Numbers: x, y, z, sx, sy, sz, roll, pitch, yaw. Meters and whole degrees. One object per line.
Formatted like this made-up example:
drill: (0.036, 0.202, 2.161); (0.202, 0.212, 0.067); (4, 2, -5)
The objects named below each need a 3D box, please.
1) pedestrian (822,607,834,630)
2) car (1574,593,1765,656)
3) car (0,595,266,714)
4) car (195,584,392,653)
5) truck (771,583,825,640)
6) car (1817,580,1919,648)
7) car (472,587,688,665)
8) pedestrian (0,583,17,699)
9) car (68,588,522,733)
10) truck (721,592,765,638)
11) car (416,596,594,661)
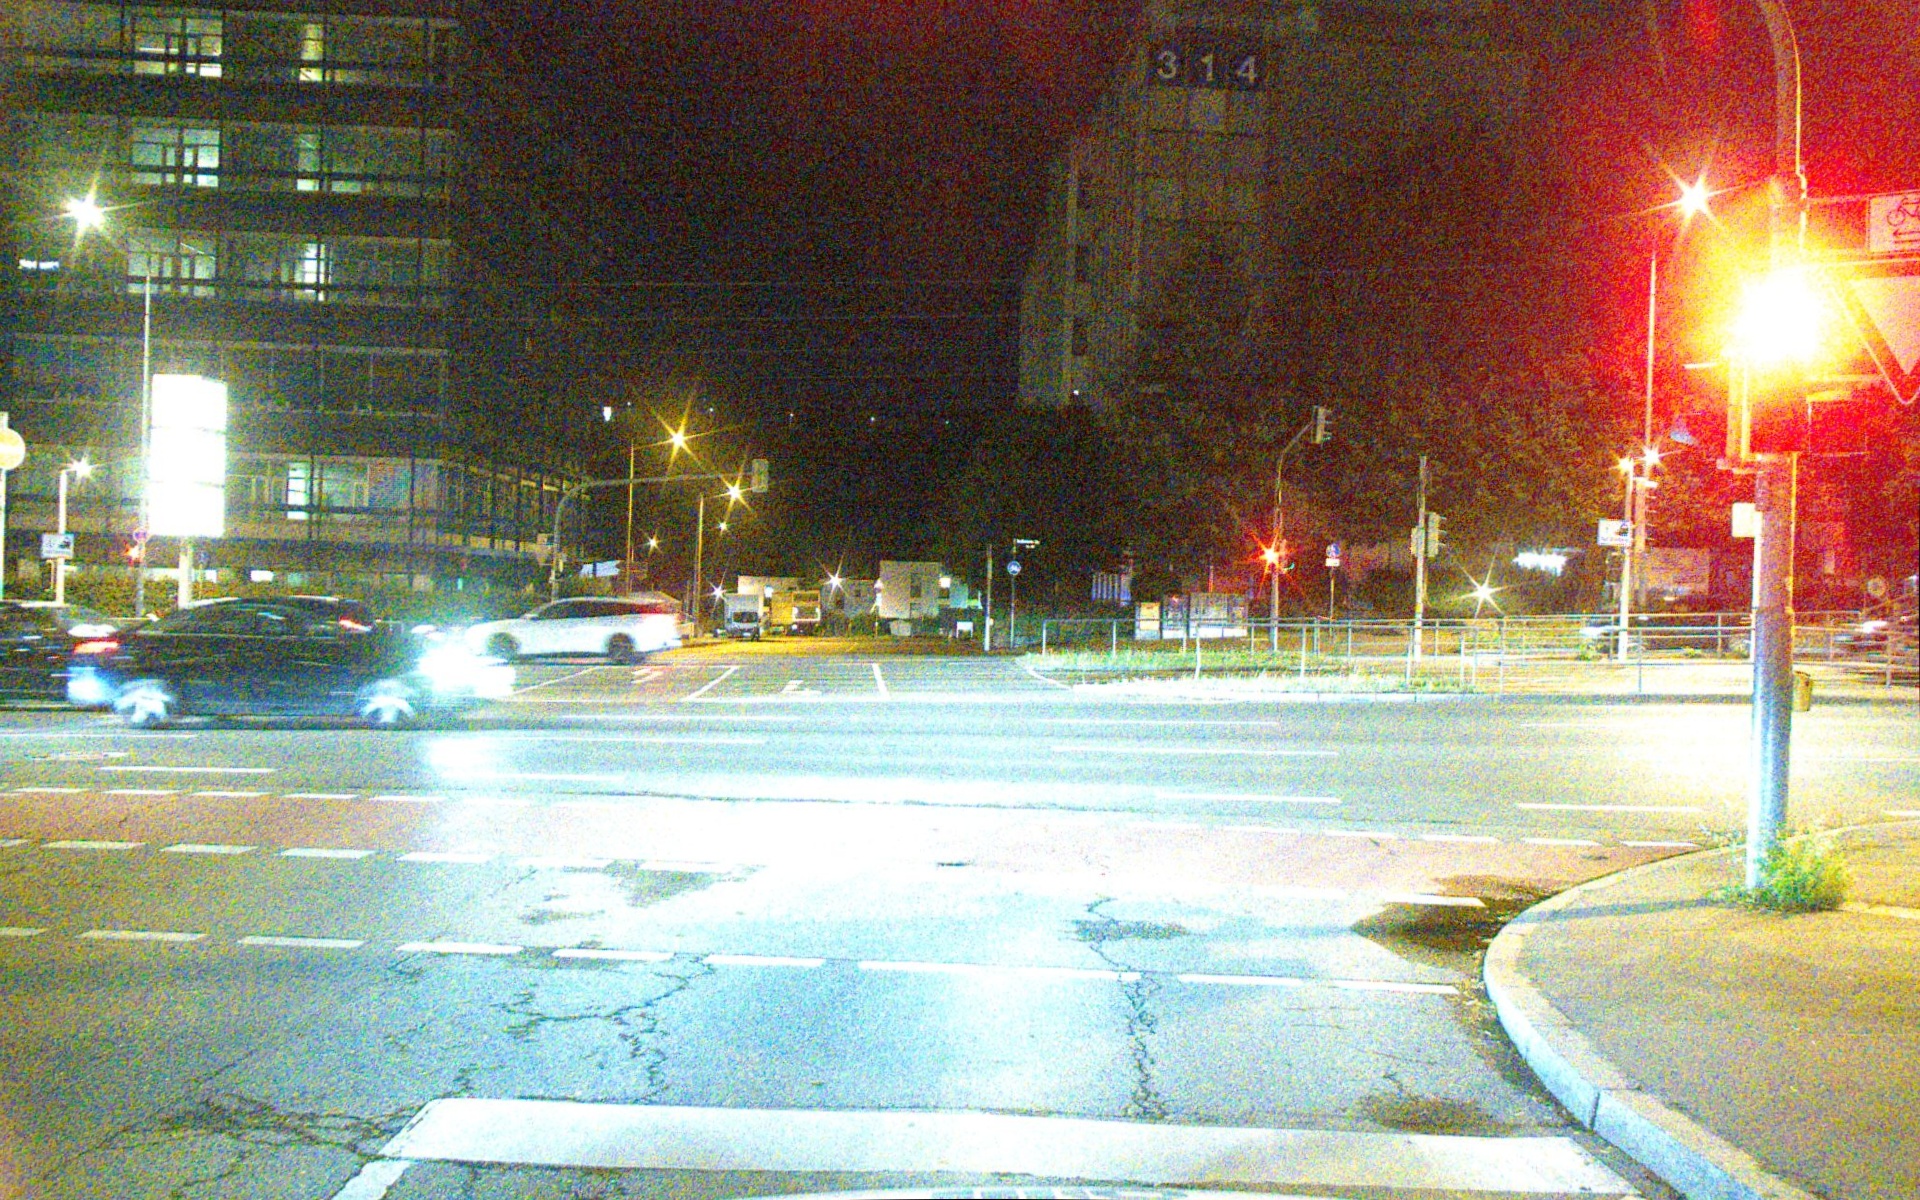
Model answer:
pedestrian: (-11.751, 1.652, 147.375); (0.836, 1.945, 1.001); (2, -1, -18)
car: (16.837, 0.575, 39.354); (3.790, 1.429, 1.769); (-1, 0, 3)
car: (-11.769, 0.687, 22.230); (4.159, 1.444, 1.746); (0, 2, 7)
car: (-16.616, 0.473, 41.361); (4.145, 1.613, 1.804); (1, -1, 3)
truck: (-14.623, 1.030, 148.610); (3.307, 4.927, 7.868); (2, -1, -17)
car: (21.503, 0.288, 36.356); (4.334, 1.445, 1.851); (-1, 0, 3)
car: (-8.651, 0.576, 37.911); (4.476, 1.612, 1.847); (1, 1, 1)
pedestrian: (-14.780, 0.607, 24.901); (0.663, 1.752, 0.706); (1, -1, 25)
car: (-7.542, 0.667, 19.037); (4.476, 1.444, 1.746); (-1, 3, 2)
truck: (-15.660, 1.070, 118.836); (2.377, 3.143, 6.414); (2, -1, -14)
car: (-12.077, 0.749, 44.080); (4.146, 1.613, 1.887); (1, -1, 1)
